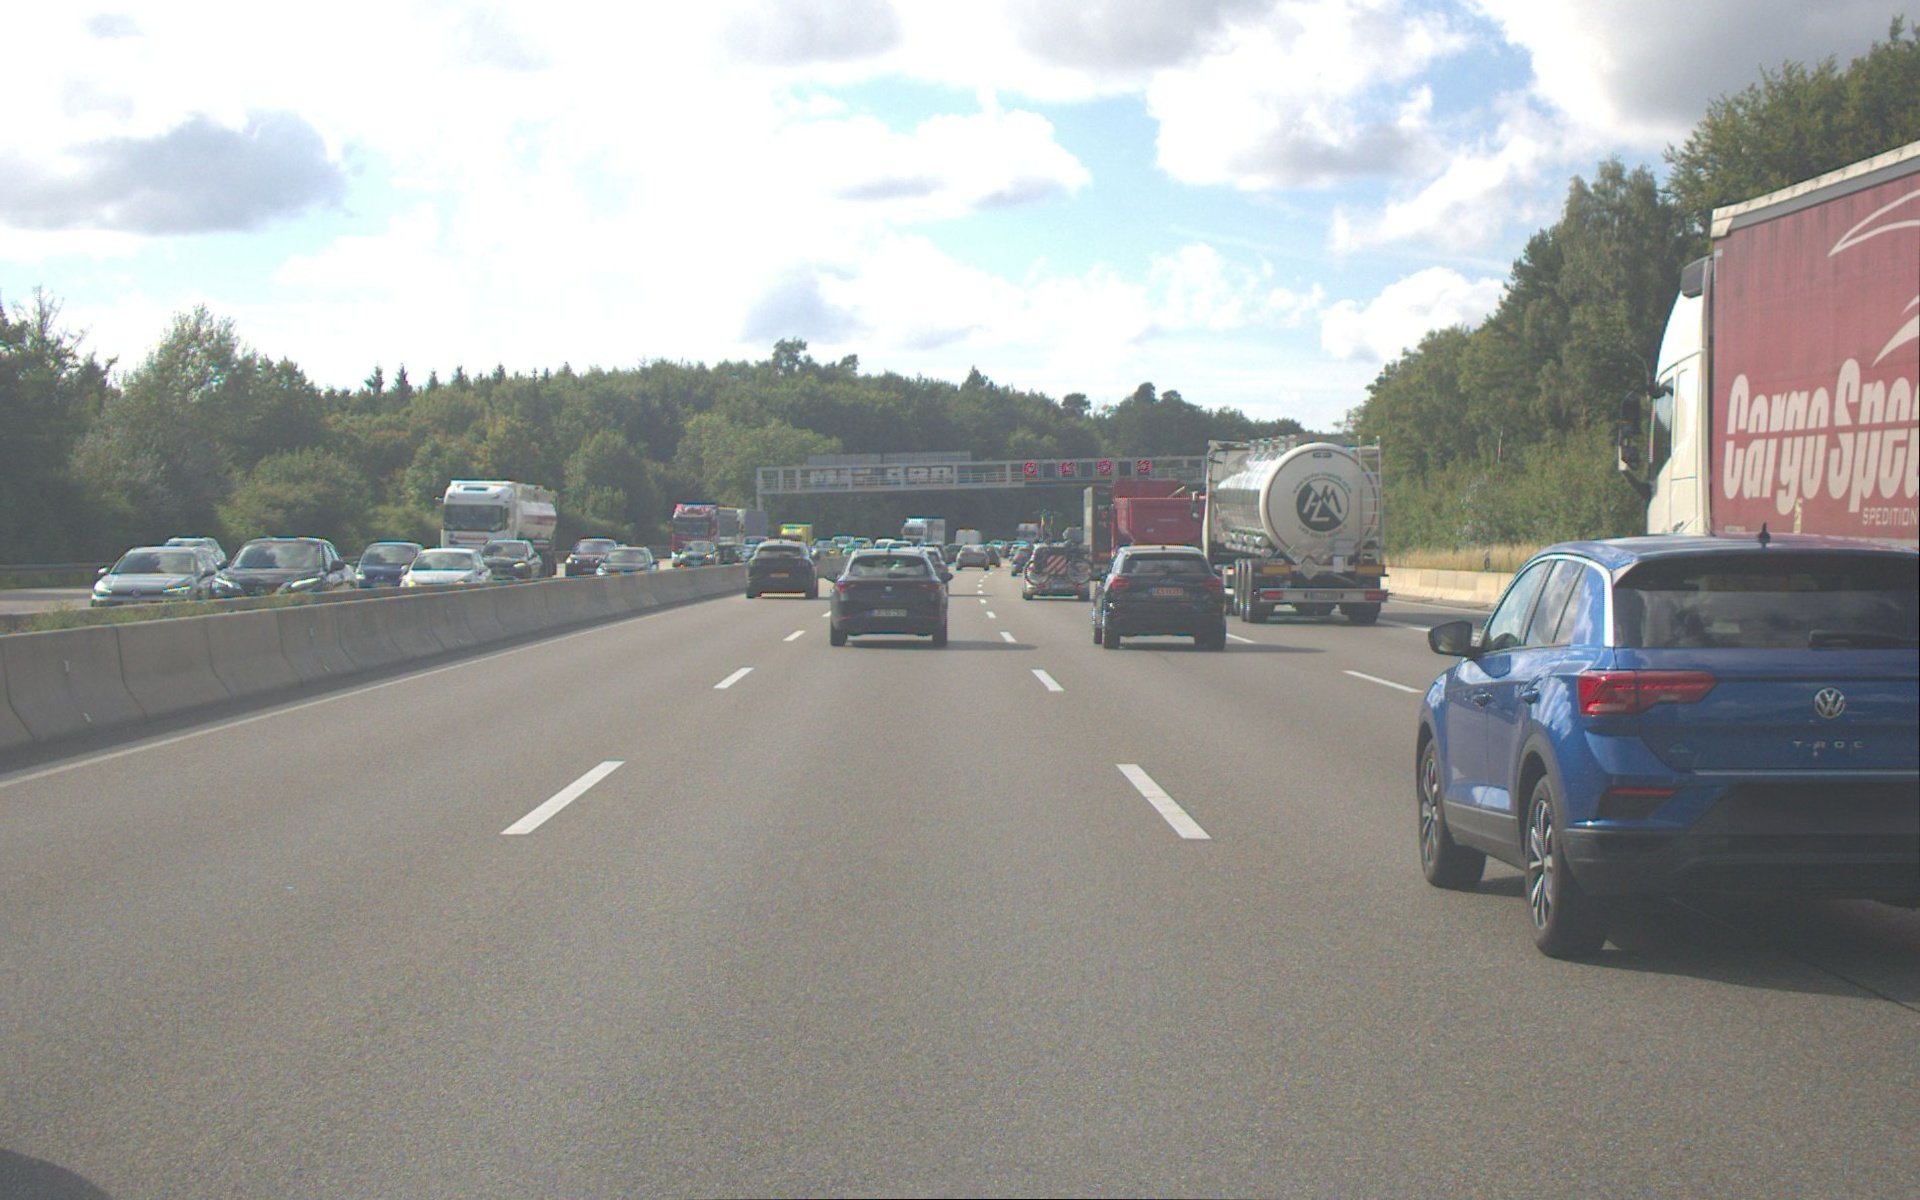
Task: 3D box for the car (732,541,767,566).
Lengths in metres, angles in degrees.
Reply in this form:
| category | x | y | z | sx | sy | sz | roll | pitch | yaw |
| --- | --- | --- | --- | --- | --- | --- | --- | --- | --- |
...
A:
| category | x | y | z | sx | sy | sz | roll | pitch | yaw |
| --- | --- | --- | --- | --- | --- | --- | --- | --- | --- |
| car | -12.941 | -2.882 | 211.619 | 1.603 | 1.398 | 4.000 | 4 | 1 | 3 |

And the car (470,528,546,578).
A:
| category | x | y | z | sx | sy | sz | roll | pitch | yaw |
| --- | --- | --- | --- | --- | --- | --- | --- | --- | --- |
| car | -14.685 | -1.550 | 111.922 | 1.860 | 1.614 | 4.748 | 0 | 1 | 0 |

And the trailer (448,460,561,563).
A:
| category | x | y | z | sx | sy | sz | roll | pitch | yaw |
| --- | --- | --- | --- | --- | --- | --- | --- | --- | --- |
| trailer | -18.146 | -3.491 | 137.733 | 2.788 | 3.932 | 12.253 | 0 | 1 | 1 |

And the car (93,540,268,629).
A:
| category | x | y | z | sx | sy | sz | roll | pitch | yaw |
| --- | --- | --- | --- | --- | --- | --- | --- | --- | --- |
| car | -13.954 | -0.318 | 61.828 | 1.993 | 1.479 | 5.132 | -1 | 1 | 0 |

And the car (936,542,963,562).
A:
| category | x | y | z | sx | sy | sz | roll | pitch | yaw |
| --- | --- | --- | --- | --- | --- | --- | --- | --- | --- |
| car | -0.773 | -3.581 | 257.563 | 1.929 | 1.452 | 3.965 | -1 | 1 | -1 |

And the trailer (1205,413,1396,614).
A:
| category | x | y | z | sx | sy | sz | roll | pitch | yaw |
| --- | --- | --- | --- | --- | --- | --- | --- | --- | --- |
| trailer | 6.815 | -1.736 | 70.393 | 2.649 | 3.754 | 11.861 | 0 | 1 | 0 |

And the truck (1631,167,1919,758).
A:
| category | x | y | z | sx | sy | sz | roll | pitch | yaw |
| --- | --- | --- | --- | --- | --- | --- | --- | --- | --- |
| truck | 7.146 | -0.994 | 26.386 | 2.774 | 4.031 | 5.774 | 0 | 1 | -1 |

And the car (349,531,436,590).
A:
| category | x | y | z | sx | sy | sz | roll | pitch | yaw |
| --- | --- | --- | --- | --- | --- | --- | --- | --- | --- |
| car | -14.796 | -1.049 | 89.766 | 1.629 | 1.506 | 4.000 | 0 | 1 | 0 |

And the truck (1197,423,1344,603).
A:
| category | x | y | z | sx | sy | sz | roll | pitch | yaw |
| --- | --- | --- | --- | --- | --- | --- | --- | --- | --- |
| truck | 6.800 | -1.905 | 76.033 | 2.649 | 3.810 | 6.082 | 0 | 1 | 0 |

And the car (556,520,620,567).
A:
| category | x | y | z | sx | sy | sz | roll | pitch | yaw |
| --- | --- | --- | --- | --- | --- | --- | --- | --- | --- |
| car | -14.135 | -2.169 | 130.979 | 1.855 | 1.664 | 5.211 | -2 | 1 | 0 |

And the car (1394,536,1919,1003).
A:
| category | x | y | z | sx | sy | sz | roll | pitch | yaw |
| --- | --- | --- | --- | --- | --- | --- | --- | --- | --- |
| car | 2.938 | 0.528 | 13.758 | 1.773 | 1.525 | 4.458 | -1 | 1 | -1 |

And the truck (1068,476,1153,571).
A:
| category | x | y | z | sx | sy | sz | roll | pitch | yaw |
| --- | --- | --- | --- | --- | --- | --- | --- | --- | --- |
| truck | 6.446 | -3.304 | 148.780 | 3.118 | 3.921 | 10.412 | -1 | 1 | 0 |

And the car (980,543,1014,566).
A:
| category | x | y | z | sx | sy | sz | roll | pitch | yaw |
| --- | --- | --- | --- | --- | --- | --- | --- | --- | --- |
| car | 2.380 | -2.963 | 223.539 | 2.077 | 1.452 | 4.000 | -1 | 1 | -1 |

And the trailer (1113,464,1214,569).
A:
| category | x | y | z | sx | sy | sz | roll | pitch | yaw |
| --- | --- | --- | --- | --- | --- | --- | --- | --- | --- |
| trailer | 6.523 | -2.749 | 111.589 | 2.710 | 3.220 | 9.733 | 1 | 2 | 0 |

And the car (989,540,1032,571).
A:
| category | x | y | z | sx | sy | sz | roll | pitch | yaw |
| --- | --- | --- | --- | --- | --- | --- | --- | --- | --- |
| car | 2.457 | -2.211 | 168.345 | 1.942 | 1.452 | 4.000 | -1 | 1 | -1 |

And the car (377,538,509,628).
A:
| category | x | y | z | sx | sy | sz | roll | pitch | yaw |
| --- | --- | --- | --- | --- | --- | --- | --- | --- | --- |
| car | -11.349 | -0.409 | 75.811 | 2.171 | 1.872 | 4.981 | -1 | 1 | -1 |

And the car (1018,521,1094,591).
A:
| category | x | y | z | sx | sy | sz | roll | pitch | yaw |
| --- | --- | --- | --- | --- | --- | --- | --- | --- | --- |
| car | 2.623 | -1.228 | 94.590 | 1.893 | 1.850 | 4.101 | 1 | 1 | -1 |

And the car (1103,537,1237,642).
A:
| category | x | y | z | sx | sy | sz | roll | pitch | yaw |
| --- | --- | --- | --- | --- | --- | --- | --- | --- | --- |
| car | 3.066 | -0.183 | 50.864 | 1.822 | 1.452 | 4.000 | -1 | 1 | 2 |

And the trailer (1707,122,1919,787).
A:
| category | x | y | z | sx | sy | sz | roll | pitch | yaw |
| --- | --- | --- | --- | --- | --- | --- | --- | --- | --- |
| trailer | 7.216 | -0.852 | 19.597 | 2.774 | 4.031 | 13.714 | 0 | 1 | -1 |

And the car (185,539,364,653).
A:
| category | x | y | z | sx | sy | sz | roll | pitch | yaw |
| --- | --- | --- | --- | --- | --- | --- | --- | --- | --- |
| car | -10.490 | -0.099 | 52.922 | 1.913 | 1.634 | 4.242 | -1 | 1 | -1 |

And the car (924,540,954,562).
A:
| category | x | y | z | sx | sy | sz | roll | pitch | yaw |
| --- | --- | --- | --- | --- | --- | --- | --- | --- | --- |
| car | -1.437 | -3.348 | 235.305 | 1.929 | 1.452 | 4.392 | -1 | 1 | -1 |

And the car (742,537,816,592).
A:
| category | x | y | z | sx | sy | sz | roll | pitch | yaw |
| --- | --- | --- | --- | --- | --- | --- | --- | --- | --- |
| car | -5.019 | -1.009 | 95.939 | 1.942 | 1.452 | 4.000 | -1 | 1 | -2 |

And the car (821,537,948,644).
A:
| category | x | y | z | sx | sy | sz | roll | pitch | yaw |
| --- | --- | --- | --- | --- | --- | --- | --- | --- | --- |
| car | -1.114 | -0.173 | 51.422 | 1.822 | 1.541 | 4.000 | 0 | 1 | -1 |

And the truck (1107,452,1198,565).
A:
| category | x | y | z | sx | sy | sz | roll | pitch | yaw |
| --- | --- | --- | --- | --- | --- | --- | --- | --- | --- |
| truck | 6.493 | -3.132 | 116.701 | 2.710 | 3.706 | 5.818 | 1 | 2 | 0 |

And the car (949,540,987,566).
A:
| category | x | y | z | sx | sy | sz | roll | pitch | yaw |
| --- | --- | --- | --- | --- | --- | --- | --- | --- | --- |
| car | 0.443 | -2.737 | 200.089 | 2.077 | 1.452 | 4.000 | -1 | 1 | -1 |

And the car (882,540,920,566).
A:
| category | x | y | z | sx | sy | sz | roll | pitch | yaw |
| --- | --- | --- | --- | --- | --- | --- | --- | --- | --- |
| car | -3.494 | -2.800 | 203.792 | 2.077 | 1.452 | 4.000 | -1 | 1 | 2 |

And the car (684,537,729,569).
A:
| category | x | y | z | sx | sy | sz | roll | pitch | yaw |
| --- | --- | --- | --- | --- | --- | --- | --- | --- | --- |
| car | -13.296 | -2.482 | 180.605 | 1.994 | 1.658 | 4.687 | -1 | 1 | -1 |

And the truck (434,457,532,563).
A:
| category | x | y | z | sx | sy | sz | roll | pitch | yaw |
| --- | --- | --- | --- | --- | --- | --- | --- | --- | --- |
| truck | -18.238 | -3.427 | 131.703 | 2.788 | 3.932 | 6.446 | 0 | 1 | 1 |

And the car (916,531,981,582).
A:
| category | x | y | z | sx | sy | sz | roll | pitch | yaw |
| --- | --- | --- | --- | --- | --- | --- | --- | --- | --- |
| car | -0.333 | -1.312 | 102.811 | 1.822 | 1.452 | 4.000 | -1 | 1 | 1 |
